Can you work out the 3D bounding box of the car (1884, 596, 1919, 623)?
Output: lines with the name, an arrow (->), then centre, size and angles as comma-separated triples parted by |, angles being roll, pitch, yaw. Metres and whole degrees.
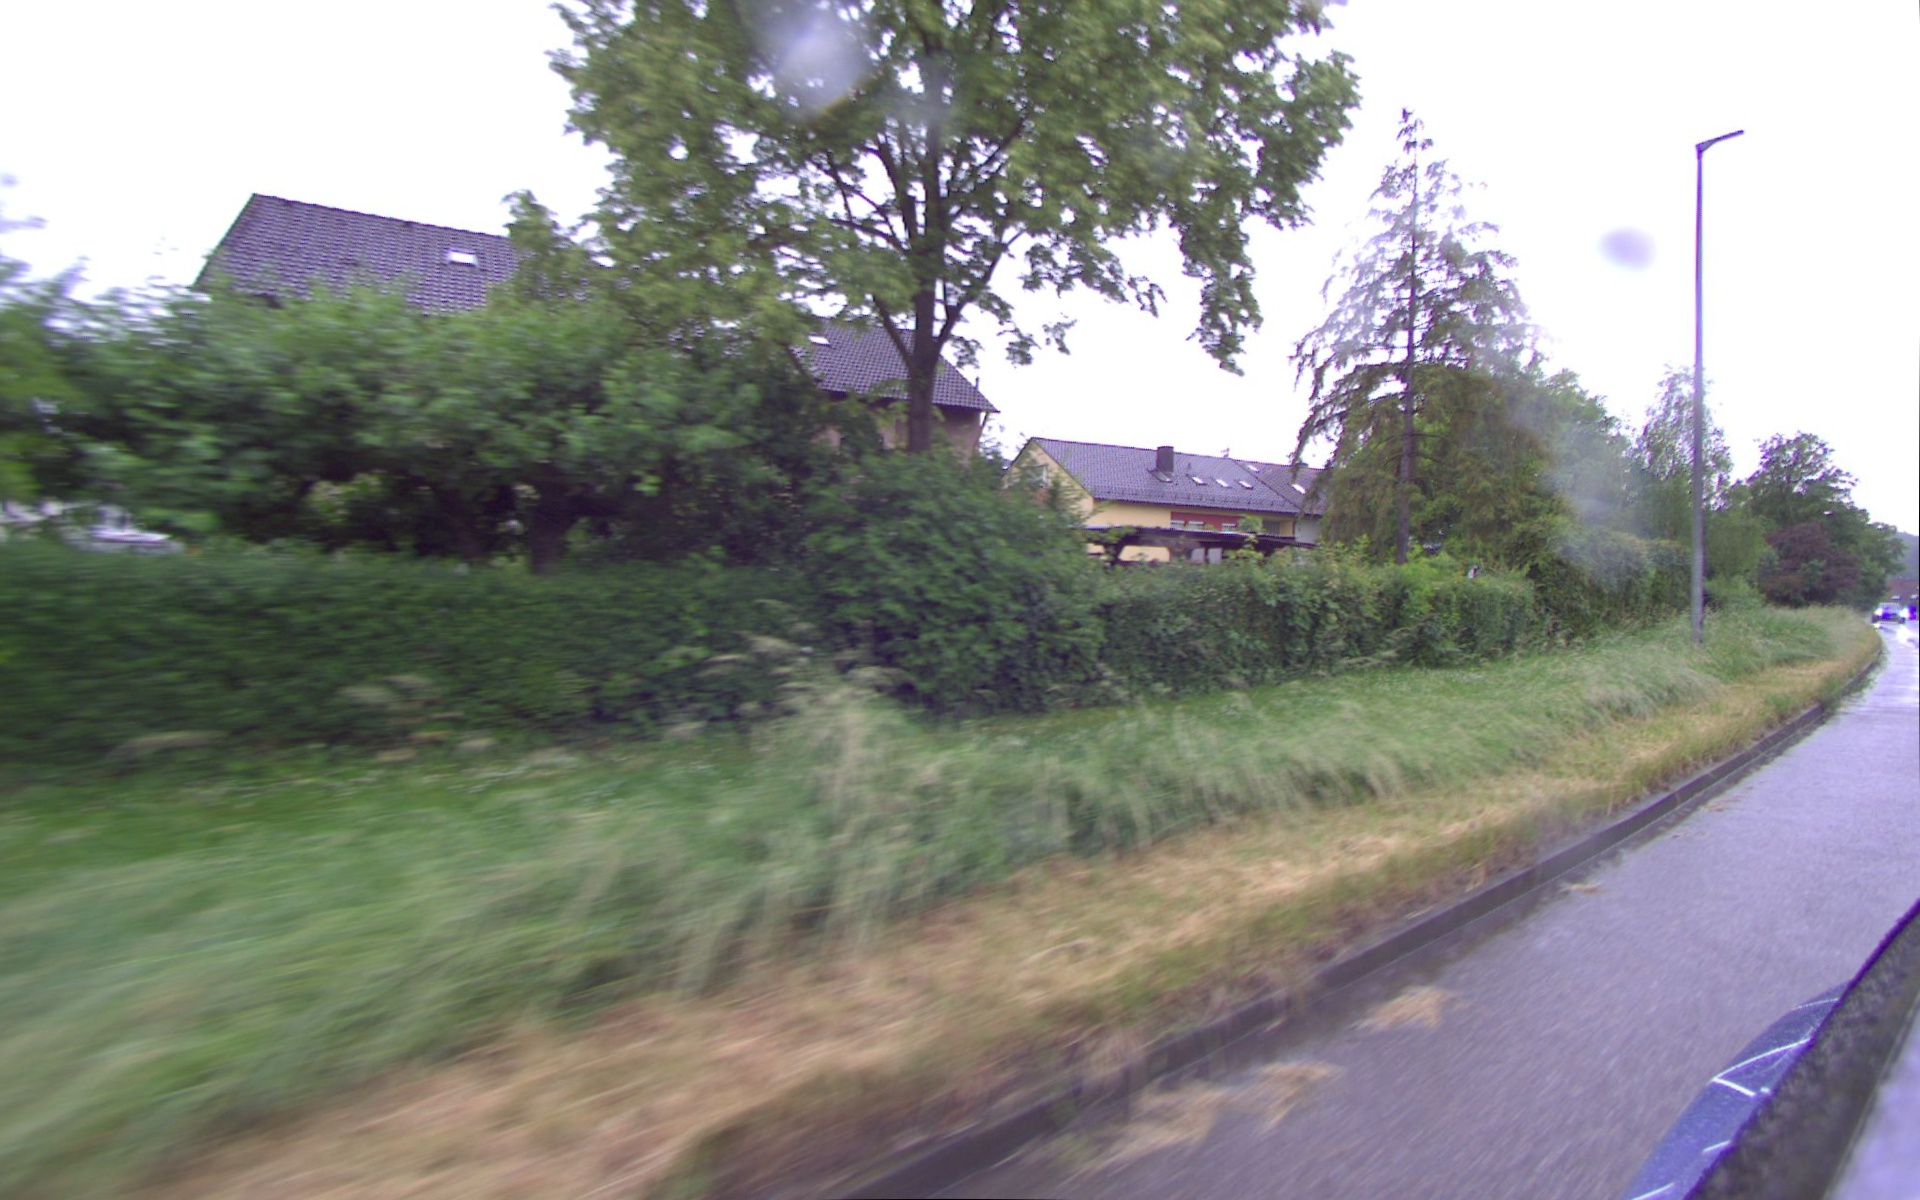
car -> 69.088, 0.702, 74.142 | 1.993, 1.865, 3.939 | 2, 1, 42
